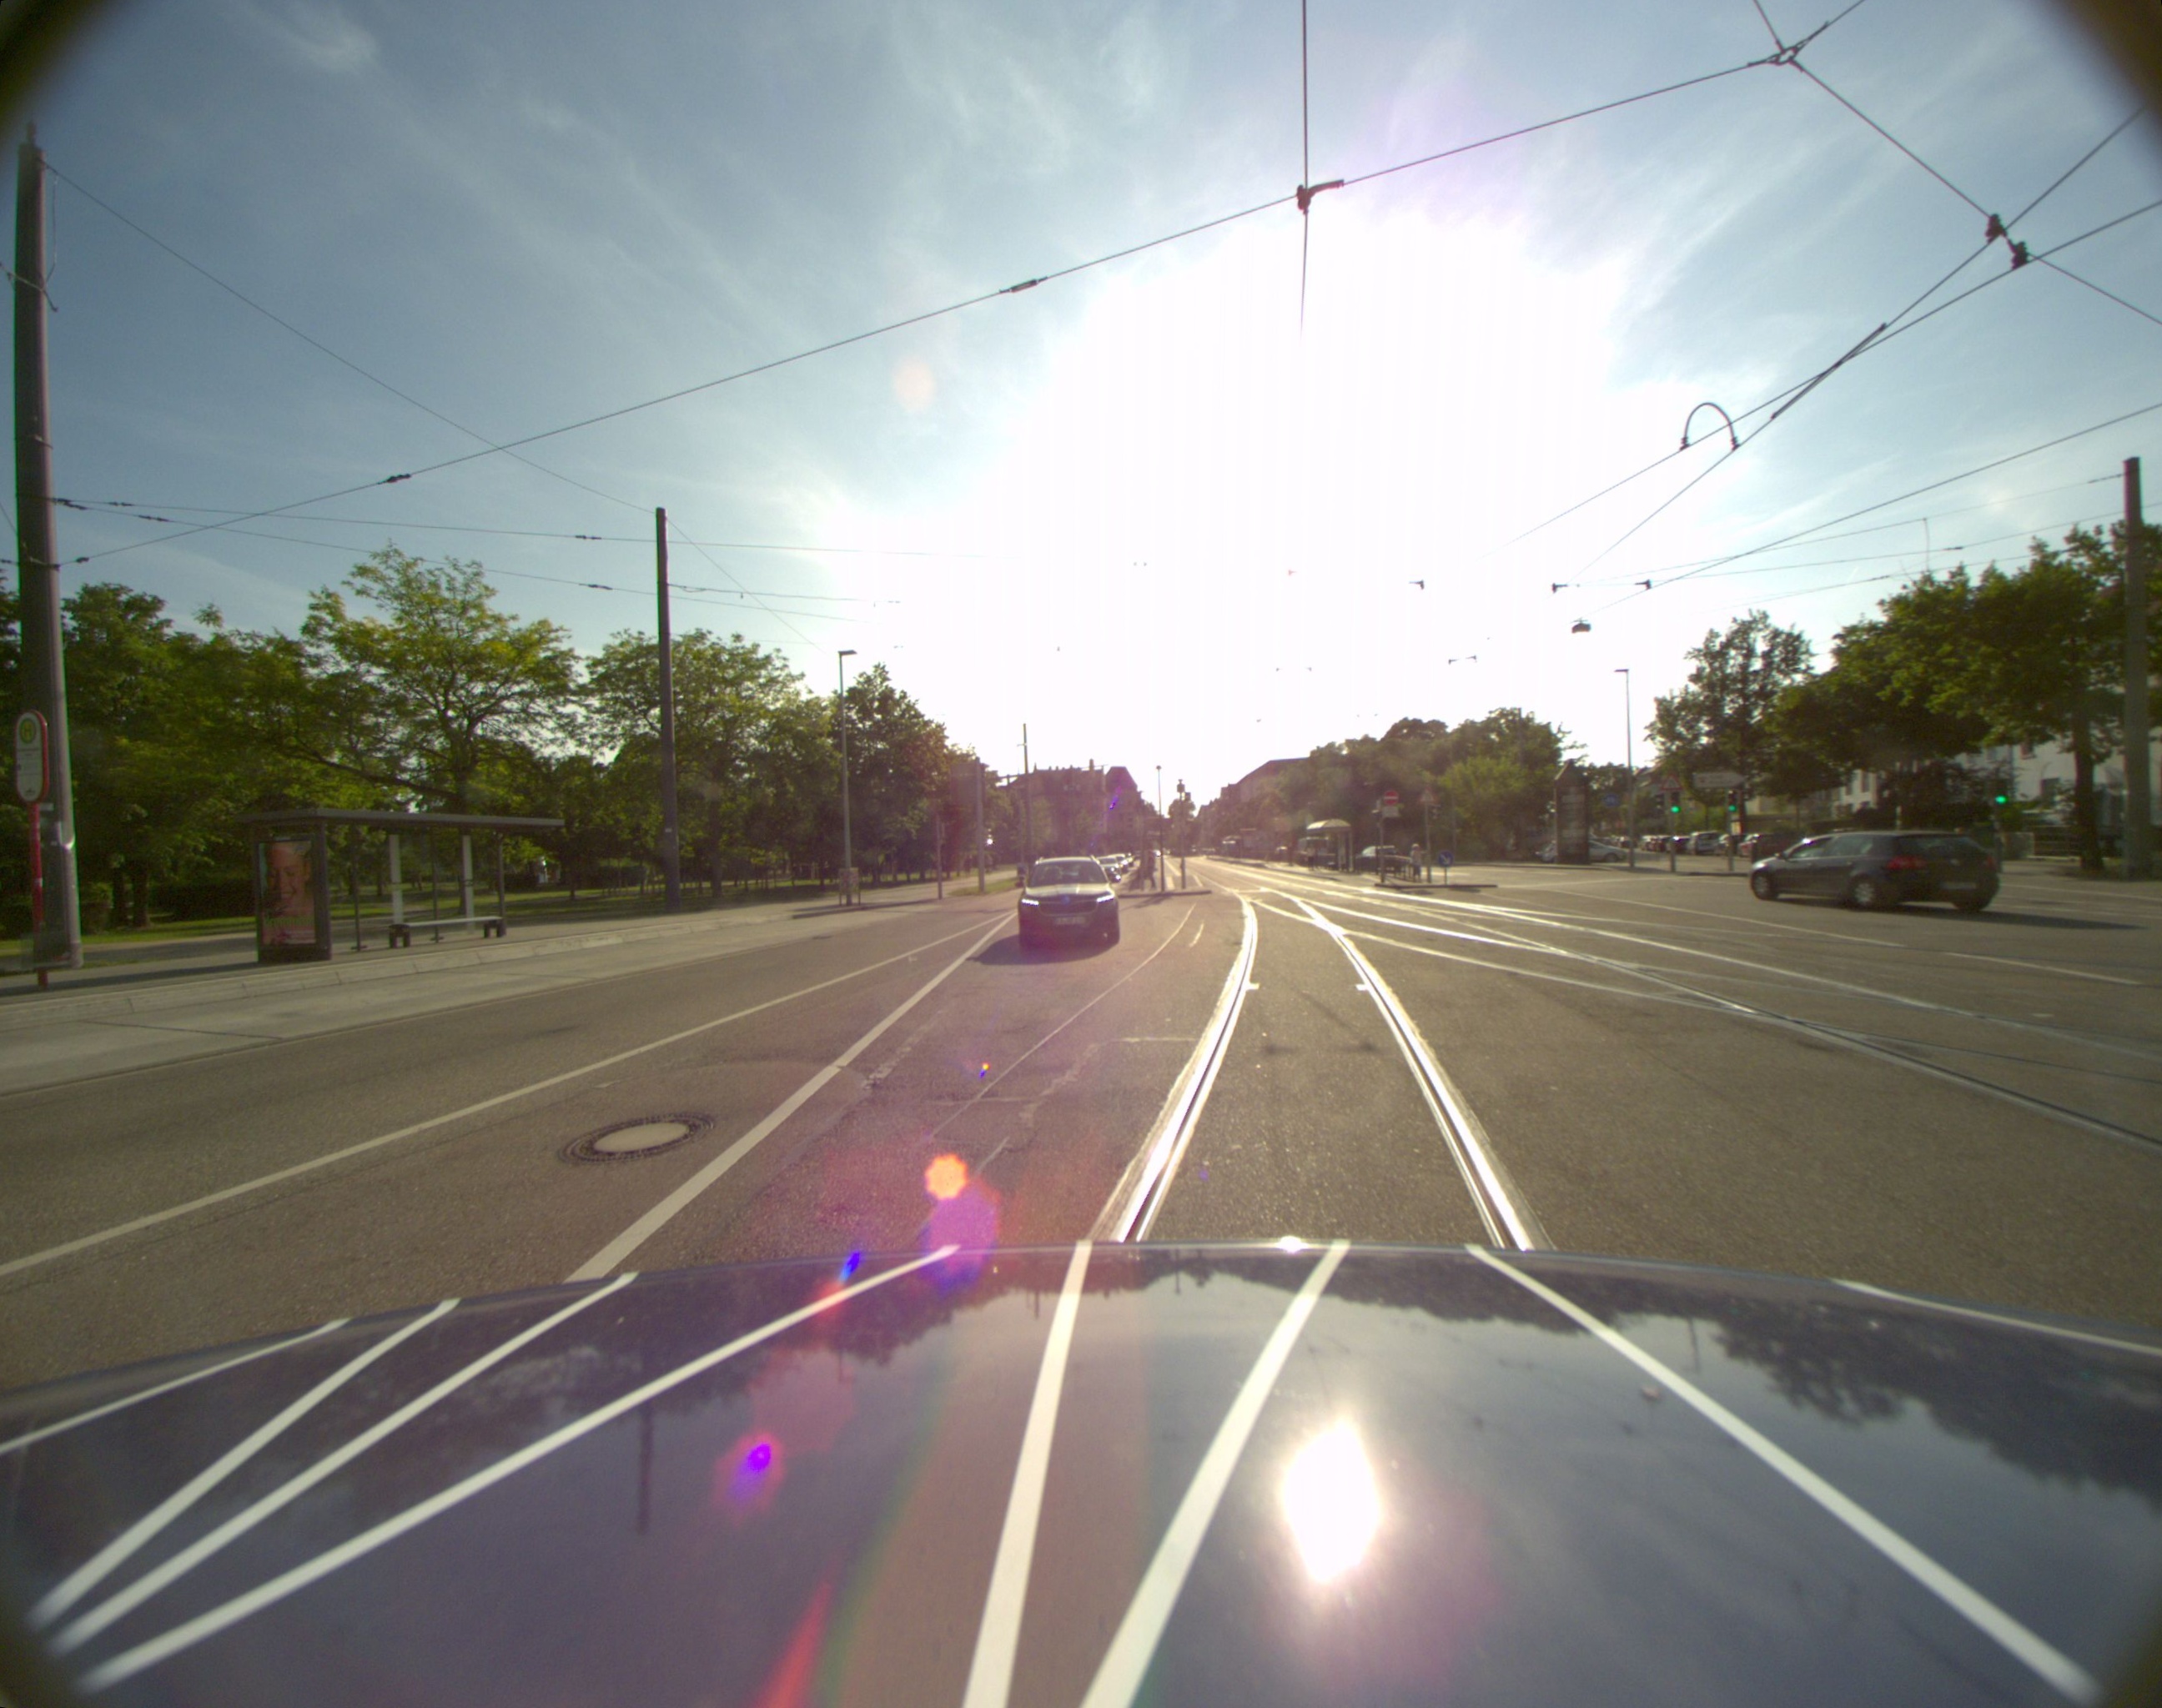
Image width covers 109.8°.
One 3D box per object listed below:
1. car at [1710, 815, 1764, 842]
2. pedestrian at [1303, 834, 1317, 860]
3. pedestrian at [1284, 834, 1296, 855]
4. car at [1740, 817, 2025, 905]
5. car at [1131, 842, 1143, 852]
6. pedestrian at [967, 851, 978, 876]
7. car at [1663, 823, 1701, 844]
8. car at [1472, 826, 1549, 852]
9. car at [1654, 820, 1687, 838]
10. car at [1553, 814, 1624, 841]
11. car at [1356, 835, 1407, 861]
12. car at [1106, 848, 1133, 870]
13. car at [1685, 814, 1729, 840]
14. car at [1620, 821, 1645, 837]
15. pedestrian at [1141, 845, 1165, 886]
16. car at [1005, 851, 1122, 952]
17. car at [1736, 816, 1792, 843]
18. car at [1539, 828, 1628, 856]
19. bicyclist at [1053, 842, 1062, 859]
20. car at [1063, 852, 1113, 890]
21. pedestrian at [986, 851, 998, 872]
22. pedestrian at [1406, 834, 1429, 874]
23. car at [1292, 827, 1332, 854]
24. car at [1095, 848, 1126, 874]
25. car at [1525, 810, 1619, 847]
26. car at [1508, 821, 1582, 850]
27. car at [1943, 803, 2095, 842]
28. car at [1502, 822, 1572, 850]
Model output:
[{"bbox_3d":[41.206,-1.600,47.812,1.813,1.563,4.007,-2,1,29],"label":"car"},{"bbox_3d":[14.852,-0.464,49.221,0.707,1.619,0.727,-2,1,6],"label":"pedestrian"},{"bbox_3d":[16.362,-0.753,59.496,0.736,1.619,0.689,-2,1,6],"label":"pedestrian"},{"bbox_3d":[15.310,0.102,14.886,1.770,1.425,4.002,-2,0,9],"label":"car"},{"bbox_3d":[9.743,-1.283,132.463,1.998,1.674,4.001,-2,1,4],"label":"car"},{"bbox_3d":[-7.552,0.673,52.818,0.558,1.691,0.662,-2,1,5],"label":"pedestrian"},{"bbox_3d":[50.287,-1.717,63.615,1.813,1.605,4.007,-2,1,29],"label":"car"},{"bbox_3d":[26.312,-0.915,46.715,3.990,1.420,1.775,-2,1,27],"label":"car"},{"bbox_3d":[53.227,-2.228,68.667,1.813,1.528,4.007,-2,1,29],"label":"car"},{"bbox_3d":[36.893,-1.879,55.347,3.990,1.744,1.857,-2,1,24],"label":"car"},{"bbox_3d":[18.687,-0.319,47.496,1.770,1.486,4.747,-2,-1,6],"label":"car"},{"bbox_3d":[2.999,0.344,57.989,1.781,1.496,4.001,-2,1,6],"label":"car"},{"bbox_3d":[46.540,-2.019,56.581,1.813,1.789,4.007,-2,1,29],"label":"car"},{"bbox_3d":[68.170,-3.071,93.992,1.813,1.789,4.006,-2,1,26],"label":"car"},{"bbox_3d":[2.960,0.469,31.324,0.882,1.660,0.672,-2,1,8],"label":"pedestrian"},{"bbox_3d":[-0.214,0.768,14.317,1.781,1.496,4.000,-4,0,2],"label":"car"},{"bbox_3d":[38.837,-1.381,43.312,1.546,1.418,3.871,-2,1,29],"label":"car"},{"bbox_3d":[28.387,-0.681,43.048,3.990,1.420,1.775,-2,1,27],"label":"car"},{"bbox_3d":[-2.530,-0.404,82.091,0.730,1.763,1.015,-2,1,3],"label":"bicyclist"},{"bbox_3d":[0.376,0.698,33.563,1.781,1.496,4.001,-2,1,6],"label":"car"},{"bbox_3d":[-7.071,0.581,60.338,0.621,1.642,0.663,-2,1,14],"label":"pedestrian"},{"bbox_3d":[13.615,0.007,30.735,0.591,1.580,0.715,-2,1,2],"label":"pedestrian"},{"bbox_3d":[20.262,-1.135,66.866,2.181,2.226,5.254,-2,0,5],"label":"car"},{"bbox_3d":[1.871,0.412,47.591,1.671,1.496,3.873,-2,1,6],"label":"car"},{"bbox_3d":[42.063,-2.149,65.317,6.586,2.792,1.775,-3,1,27],"label":"car"},{"bbox_3d":[30.925,-1.197,50.815,3.990,1.744,1.857,-2,1,24],"label":"car"},{"bbox_3d":[42.834,-1.424,34.854,3.989,1.549,1.860,-2,1,31],"label":"car"},{"bbox_3d":[31.568,-1.234,52.723,3.990,1.744,1.857,-2,1,24],"label":"car"}]
